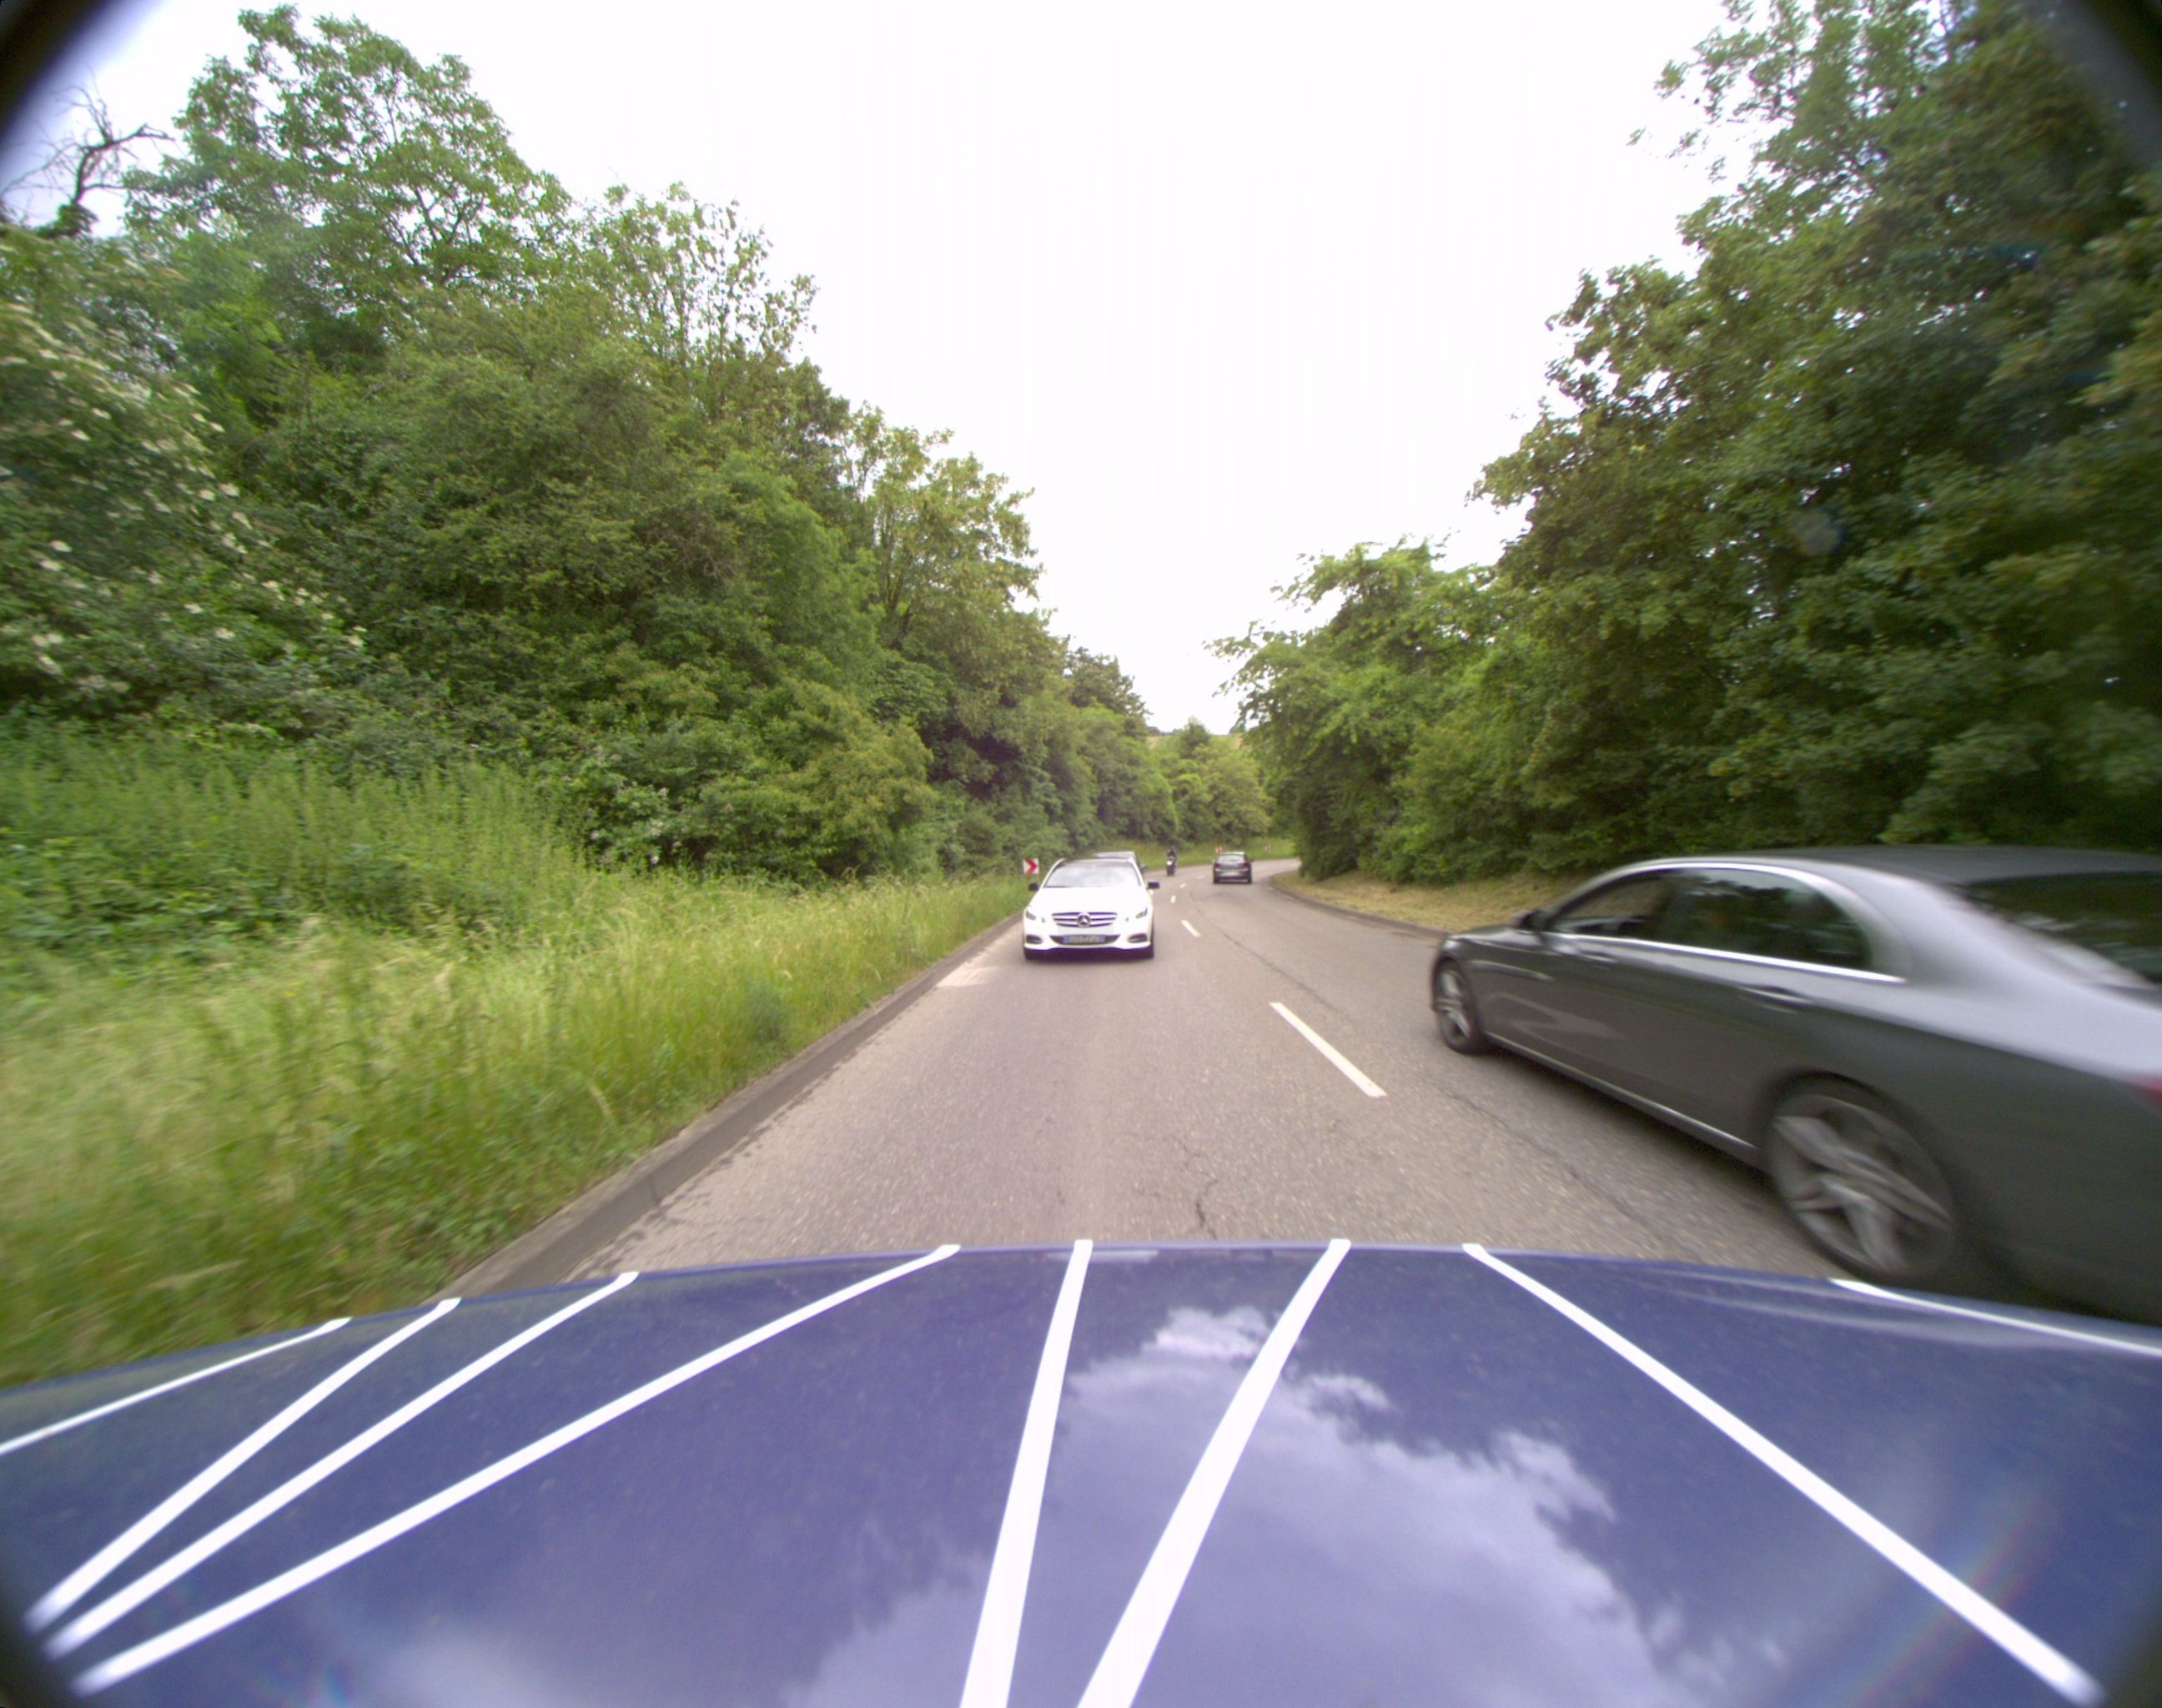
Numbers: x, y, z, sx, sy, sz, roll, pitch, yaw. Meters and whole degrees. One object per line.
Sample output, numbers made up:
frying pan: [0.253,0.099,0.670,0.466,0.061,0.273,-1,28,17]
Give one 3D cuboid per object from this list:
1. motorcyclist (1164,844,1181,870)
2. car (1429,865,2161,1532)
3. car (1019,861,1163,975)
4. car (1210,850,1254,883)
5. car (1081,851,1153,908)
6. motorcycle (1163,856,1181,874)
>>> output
motorcyclist: [5.150,0.169,42.699,0.818,1.457,0.788,2,2,16]
car: [3.448,0.831,3.366,1.835,1.397,4.431,-2,0,1]
car: [0.149,0.866,11.995,1.887,1.414,4.000,0,0,0]
car: [6.925,0.532,35.137,1.637,1.397,3.598,-2,0,6]
car: [1.172,0.702,22.958,1.821,1.535,3.728,-1,0,8]
motorcycle: [5.116,0.610,42.684,0.701,0.970,1.696,2,2,16]
